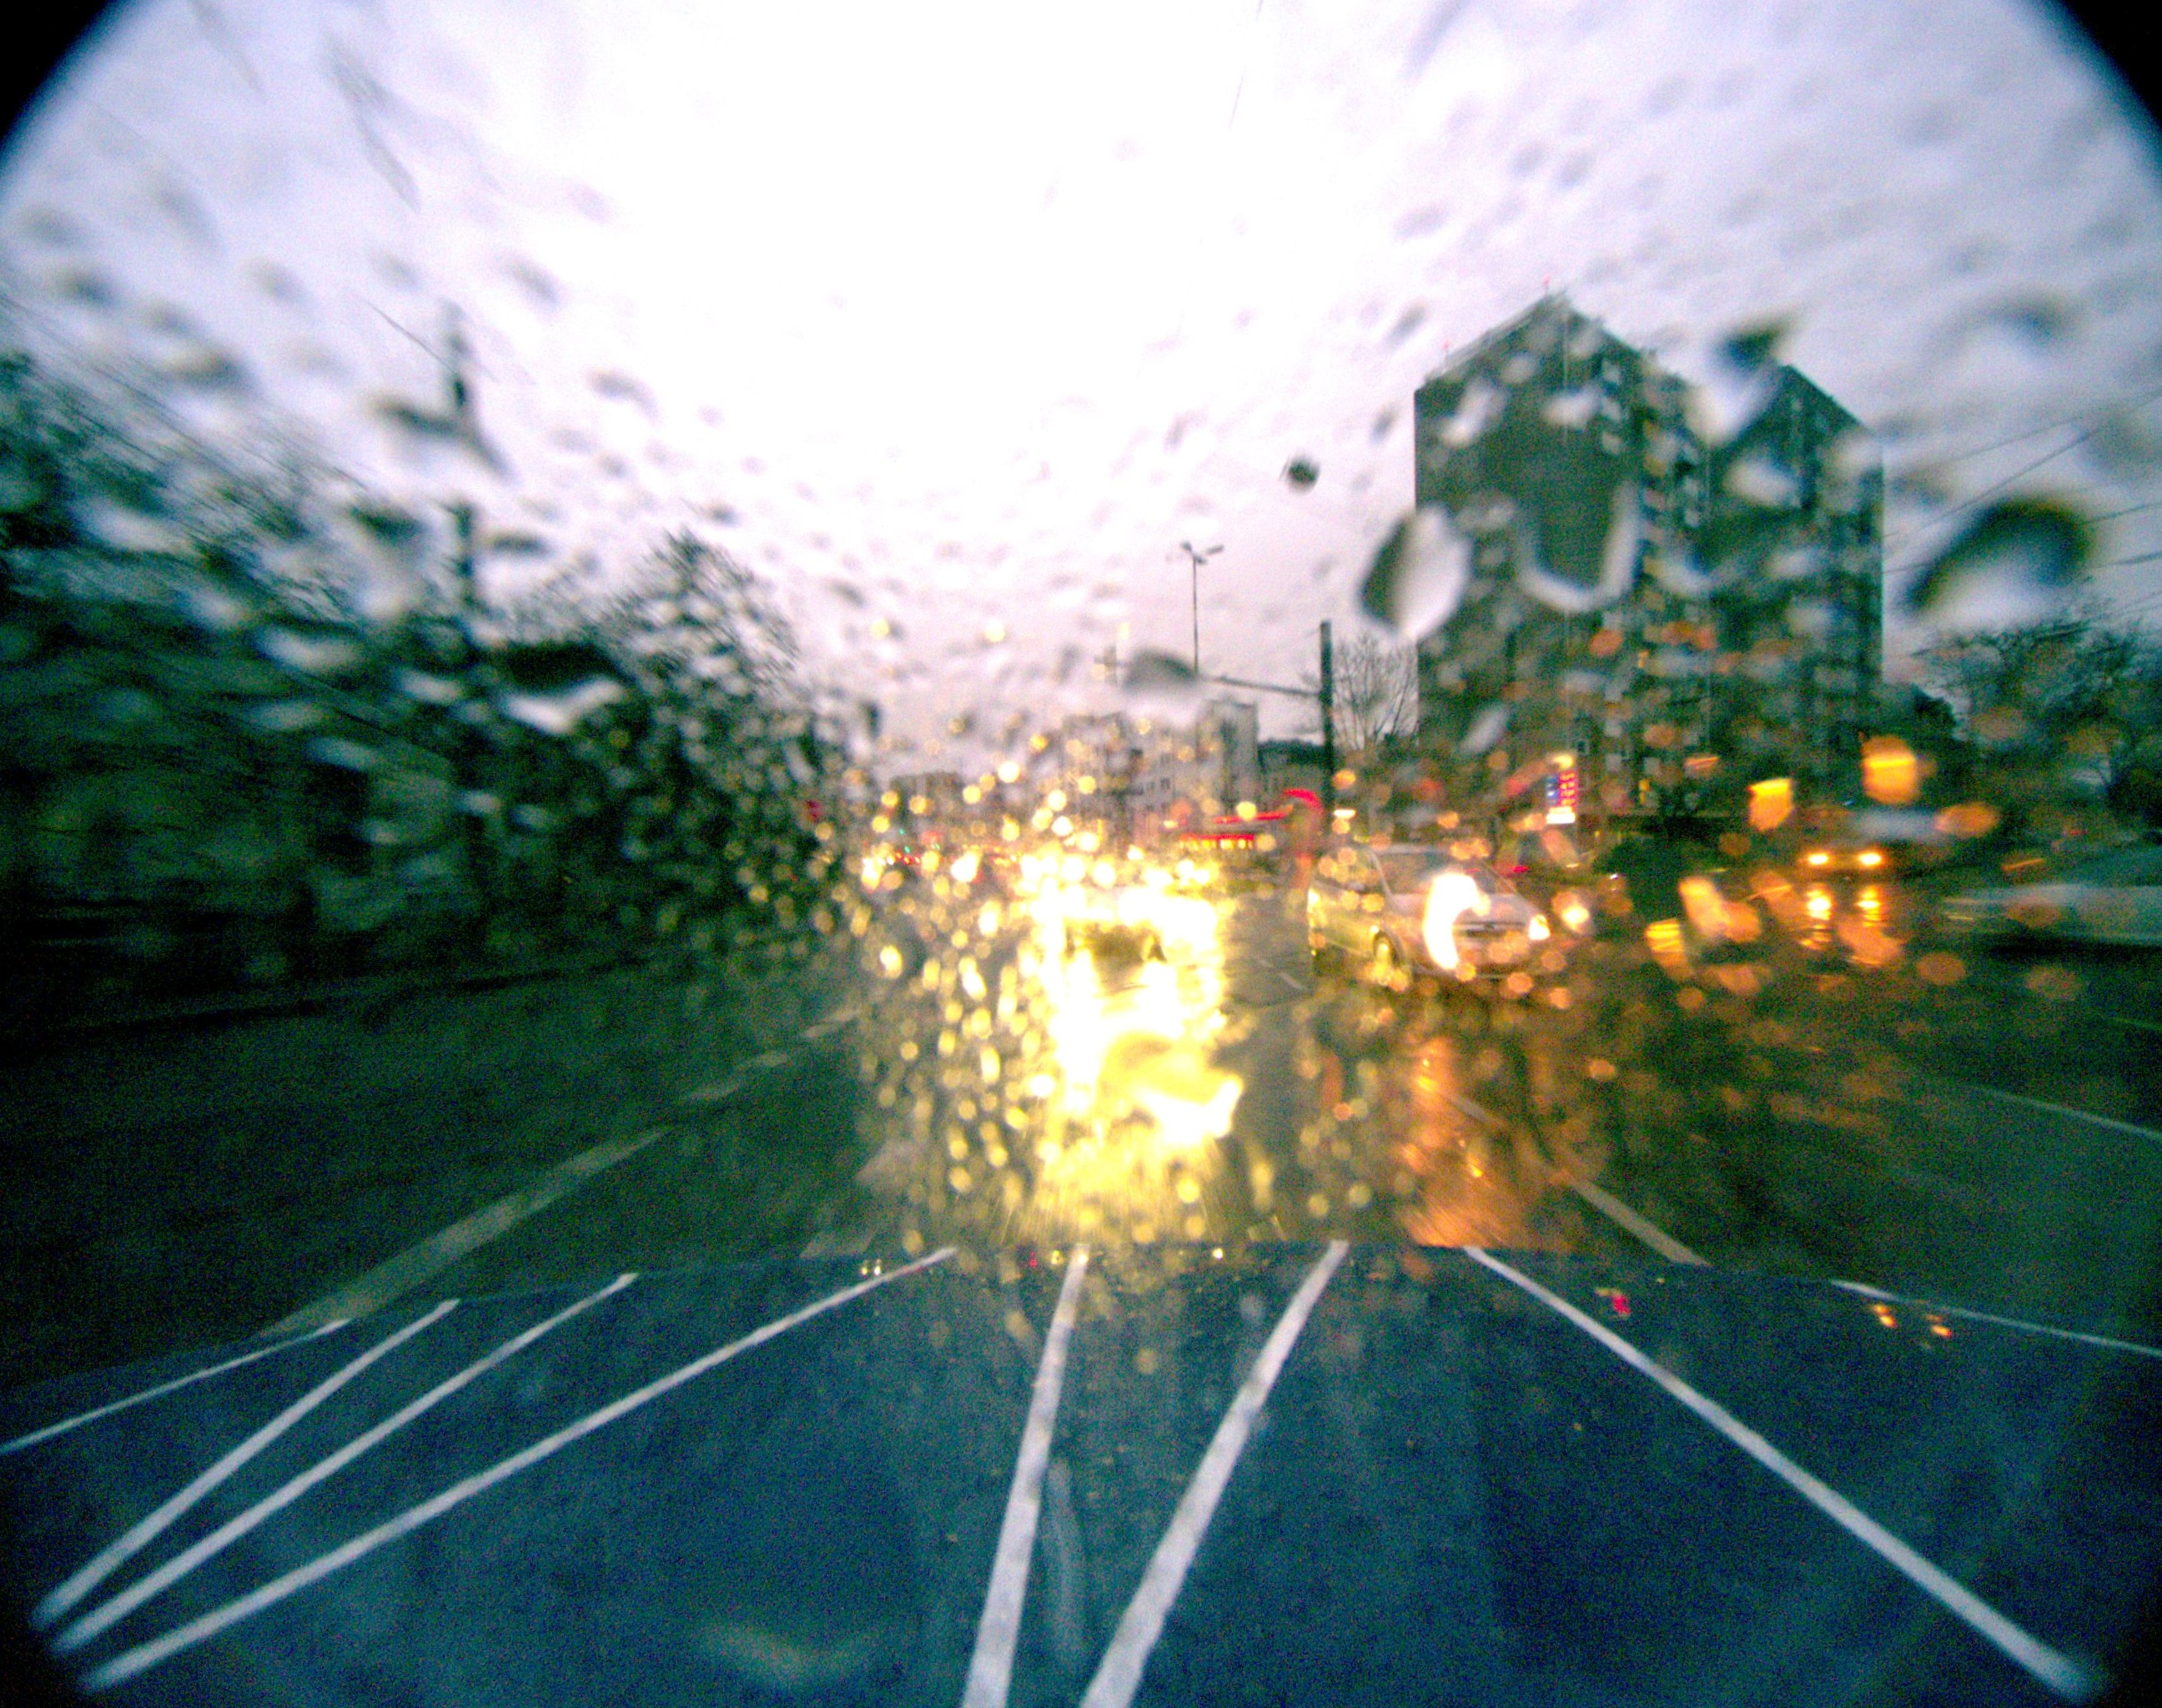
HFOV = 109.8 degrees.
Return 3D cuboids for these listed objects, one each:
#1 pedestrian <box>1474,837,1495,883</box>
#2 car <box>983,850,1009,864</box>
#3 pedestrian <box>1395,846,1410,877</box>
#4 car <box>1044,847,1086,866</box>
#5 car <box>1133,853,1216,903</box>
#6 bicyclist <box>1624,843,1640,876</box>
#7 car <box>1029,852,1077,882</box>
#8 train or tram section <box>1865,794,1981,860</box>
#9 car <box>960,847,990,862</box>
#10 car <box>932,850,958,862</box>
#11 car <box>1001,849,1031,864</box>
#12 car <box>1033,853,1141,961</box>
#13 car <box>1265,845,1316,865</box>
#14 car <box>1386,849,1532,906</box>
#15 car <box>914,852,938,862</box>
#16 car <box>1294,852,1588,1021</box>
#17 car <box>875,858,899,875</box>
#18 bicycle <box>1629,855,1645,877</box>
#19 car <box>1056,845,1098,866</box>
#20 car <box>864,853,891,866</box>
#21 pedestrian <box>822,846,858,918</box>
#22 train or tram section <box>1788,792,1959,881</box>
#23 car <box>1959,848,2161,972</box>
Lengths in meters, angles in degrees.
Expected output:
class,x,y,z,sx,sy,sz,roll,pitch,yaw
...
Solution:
class,x,y,z,sx,sy,sz,roll,pitch,yaw
pedestrian,15.802,0.217,29.784,0.468,1.762,0.628,-1,2,-6
car,-9.227,0.305,82.230,1.653,1.478,3.992,-1,0,-25
pedestrian,18.719,0.428,44.220,0.629,1.782,0.531,-3,1,-40
car,-1.291,0.178,60.252,1.652,1.441,3.841,-2,1,-30
car,3.117,0.757,26.022,1.754,1.535,3.996,0,0,-10
bicyclist,23.960,0.243,33.042,0.505,1.382,0.971,-1,1,35
car,-1.766,0.778,46.764,1.822,1.732,4.179,0,0,-19
train or tram section,46.102,-1.517,41.458,11.170,3.219,3.161,-3,2,-37
car,-12.421,0.063,88.813,1.972,1.772,4.523,-1,0,-28
car,-17.422,0.275,97.246,1.972,1.505,4.523,0,0,-28
car,-6.556,0.285,76.080,1.653,1.478,4.135,-1,0,-25
car,0.107,0.824,13.757,1.649,1.575,3.804,-1,1,1
car,16.844,0.069,61.132,4.007,1.521,1.775,-1,1,-34
car,10.764,0.612,21.988,1.686,1.449,4.058,-1,1,-11
car,-21.296,0.373,104.468,1.972,1.378,4.523,0,0,-28
car,4.030,0.789,9.333,1.649,1.539,4.108,-1,1,0
car,-23.689,1.535,92.829,2.003,2.002,3.991,-1,1,-28
bicycle,24.001,0.519,32.830,0.505,0.895,1.989,-1,1,35
car,-0.386,0.123,71.613,2.003,1.934,4.843,1,0,-26
car,-22.903,0.614,85.534,1.972,1.378,4.523,0,0,-28
pedestrian,-6.405,0.735,20.219,0.574,1.827,0.683,5,-1,0
train or tram section,35.087,-0.941,33.255,16.336,3.170,3.161,-3,2,-37
car,13.718,0.663,8.799,1.687,1.449,4.327,-1,1,-18
